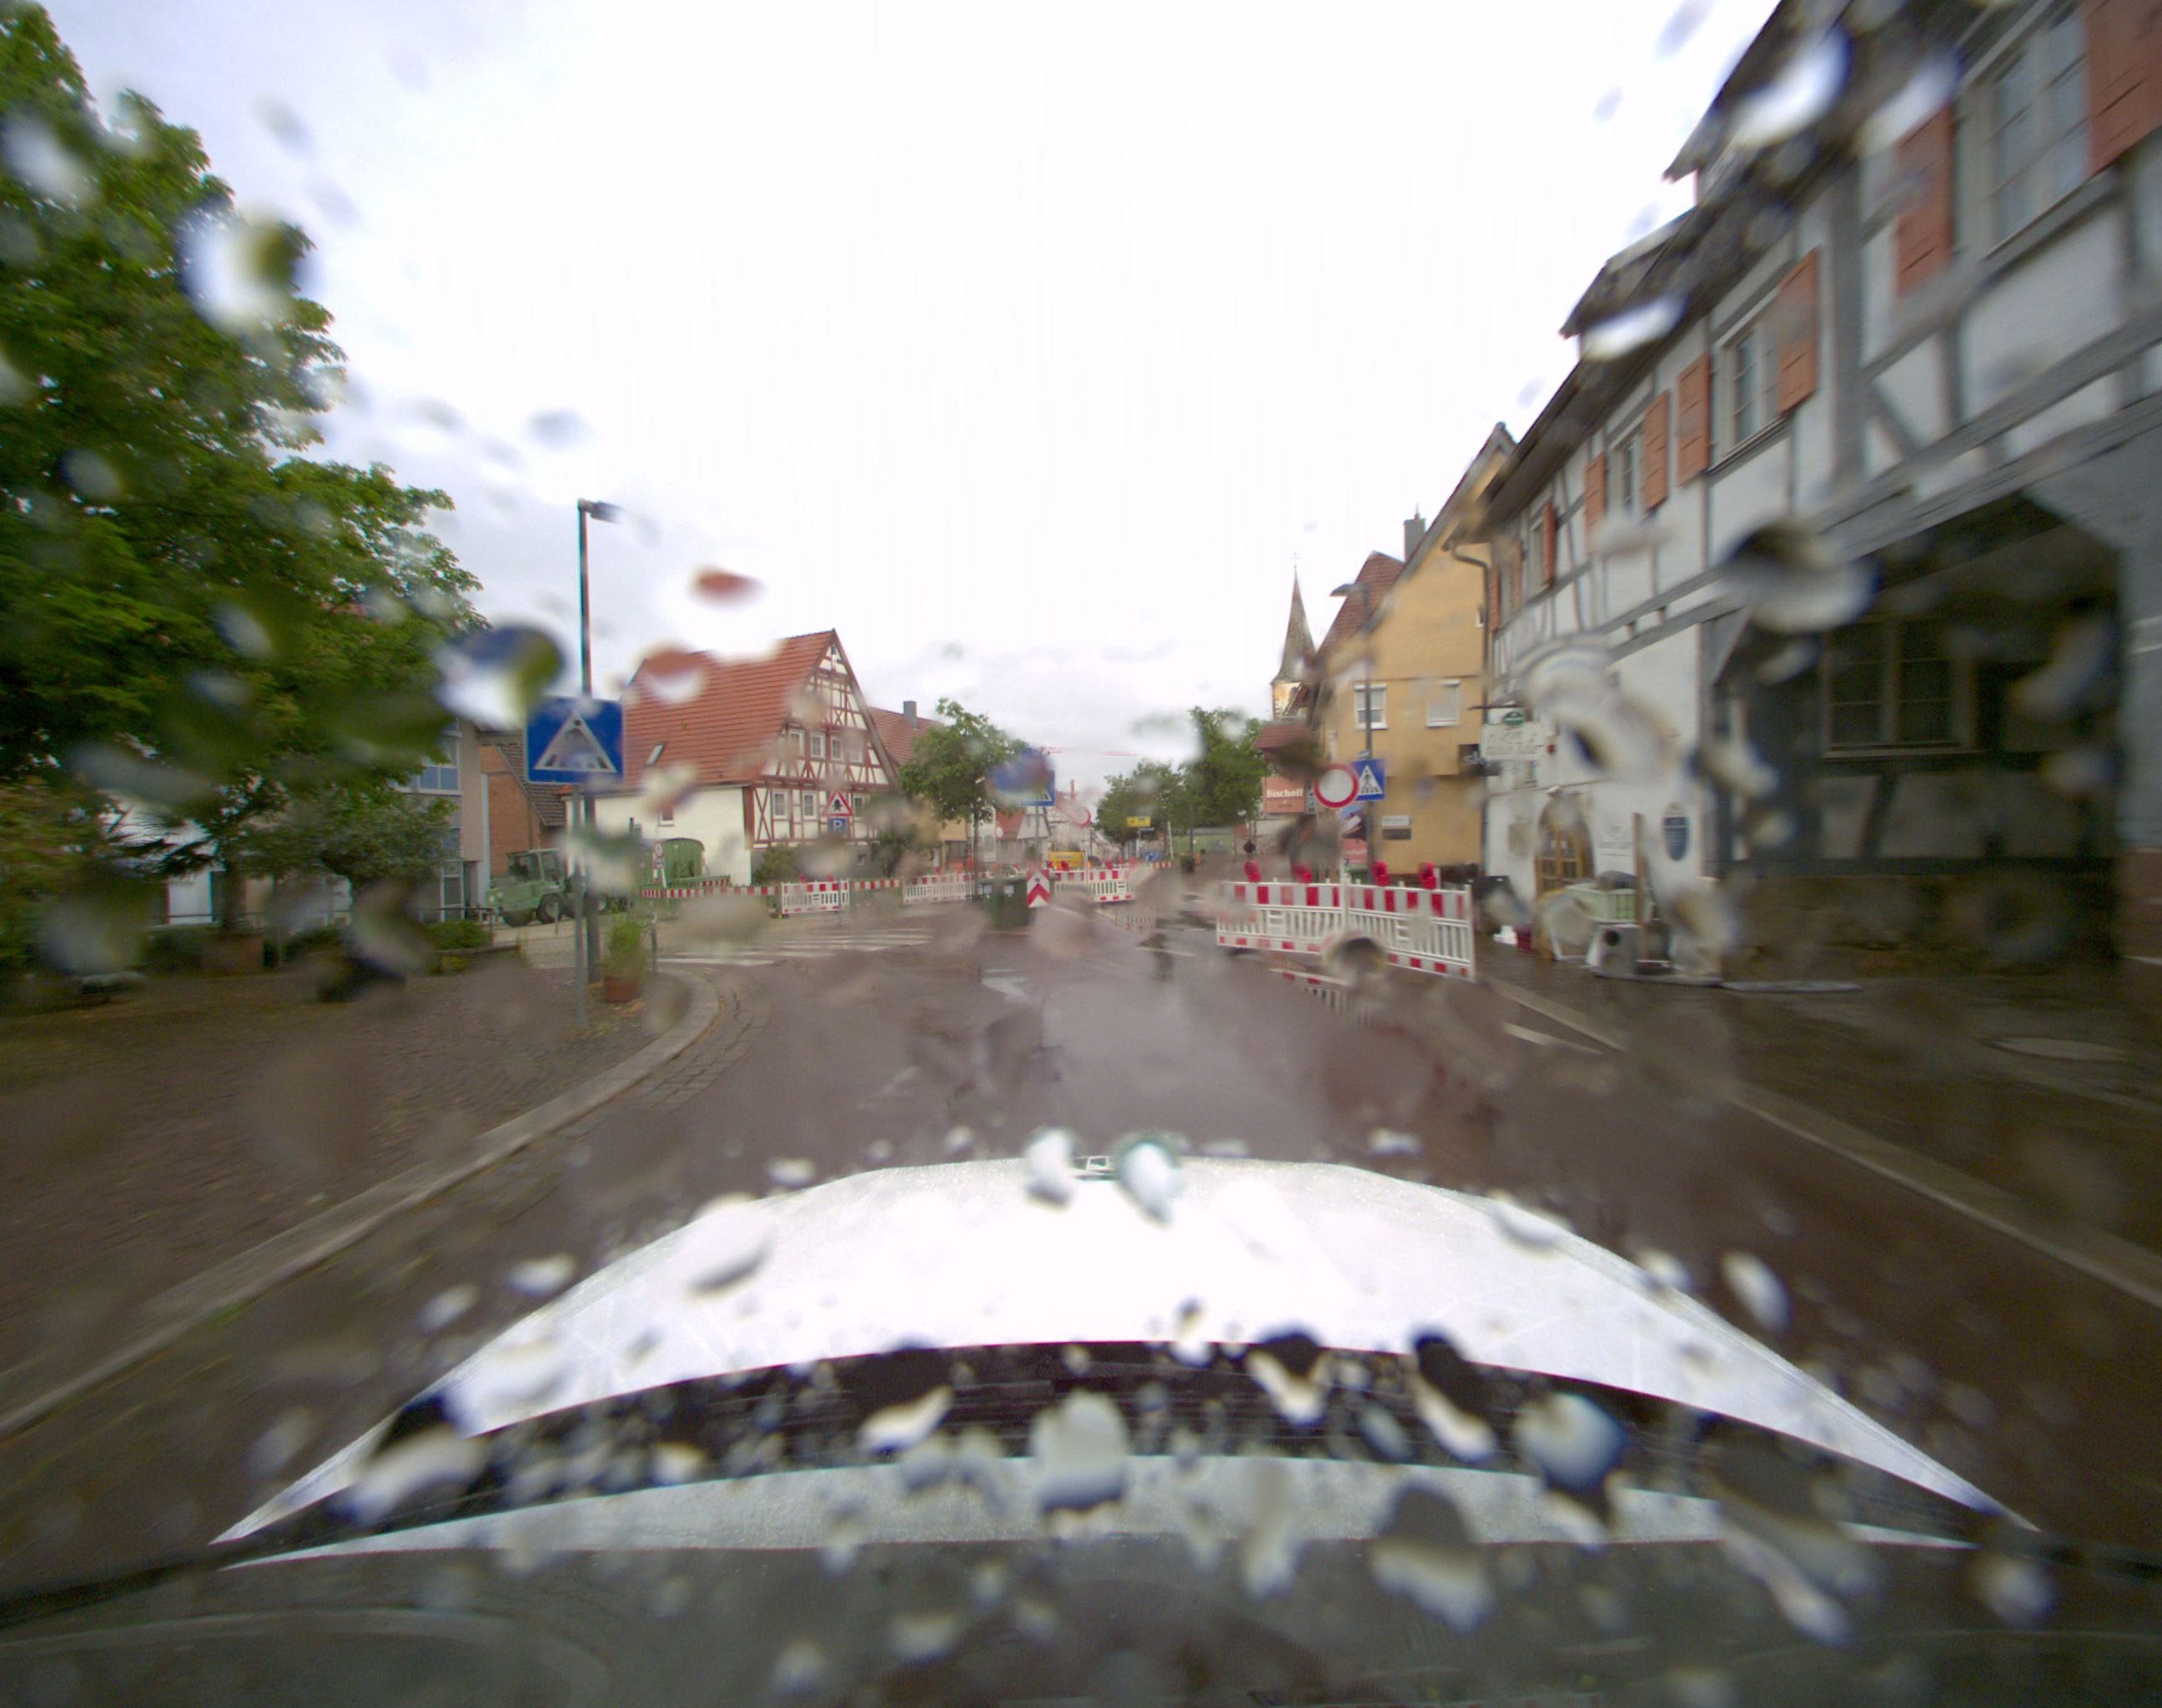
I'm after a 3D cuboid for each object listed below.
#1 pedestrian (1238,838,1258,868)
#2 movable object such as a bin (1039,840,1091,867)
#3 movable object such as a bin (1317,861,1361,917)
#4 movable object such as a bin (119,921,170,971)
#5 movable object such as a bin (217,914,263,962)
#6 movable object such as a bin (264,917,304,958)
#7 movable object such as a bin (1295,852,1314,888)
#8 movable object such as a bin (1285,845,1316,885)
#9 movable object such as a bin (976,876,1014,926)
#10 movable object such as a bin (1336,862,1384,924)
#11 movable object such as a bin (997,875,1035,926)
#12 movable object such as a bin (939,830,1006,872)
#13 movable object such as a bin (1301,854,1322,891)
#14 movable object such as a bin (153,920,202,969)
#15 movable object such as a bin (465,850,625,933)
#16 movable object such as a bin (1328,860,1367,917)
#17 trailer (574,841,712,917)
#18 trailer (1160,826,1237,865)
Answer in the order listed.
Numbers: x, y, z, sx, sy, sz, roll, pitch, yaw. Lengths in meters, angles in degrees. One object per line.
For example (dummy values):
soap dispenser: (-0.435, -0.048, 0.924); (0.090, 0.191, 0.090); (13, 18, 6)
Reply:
pedestrian: (9.956, -0.043, 48.575); (0.986, 1.759, 0.852); (0, 0, 1)
movable object such as a bin: (-1.190, -0.053, 62.900); (3.382, 2.014, 3.487); (0, 0, 8)
movable object such as a bin: (5.198, 0.690, 16.438); (0.676, 1.066, 0.587); (-2, 0, 2)
movable object such as a bin: (-23.599, 2.306, 20.521); (0.549, 1.159, 0.559); (-4, 1, -11)
movable object such as a bin: (-21.681, 2.158, 21.004); (0.549, 1.126, 0.559); (-4, 1, -11)
movable object such as a bin: (-20.902, 2.183, 21.357); (0.499, 0.991, 0.558); (-4, 1, -20)
movable object such as a bin: (7.580, 0.536, 27.596); (0.512, 1.128, 0.582); (-4, 1, 11)
movable object such as a bin: (8.753, 0.426, 32.445); (1.057, 1.512, 1.247); (-4, 0, 15)
movable object such as a bin: (-1.844, 1.011, 17.515); (0.535, 1.037, 0.576); (-4, -2, 41)
movable object such as a bin: (5.148, 0.706, 15.032); (0.676, 1.065, 0.540); (-2, 2, 1)
movable object such as a bin: (-1.355, 0.972, 17.103); (0.538, 1.033, 0.538); (-4, -3, 41)
movable object such as a bin: (-5.615, -0.161, 42.694); (1.890, 2.014, 4.017); (-3, -1, 16)
movable object such as a bin: (7.283, 0.581, 25.759); (0.514, 1.132, 0.582); (-4, 1, 11)
movable object such as a bin: (-22.941, 2.290, 20.689); (0.540, 1.126, 0.559); (-4, 1, -11)
movable object such as a bin: (-18.912, 1.238, 28.984); (1.889, 2.554, 4.313); (-4, 0, 20)
movable object such as a bin: (5.158, 0.669, 15.756); (0.610, 1.066, 0.543); (-3, -1, 24)
trailer: (-17.372, 0.949, 32.348); (4.576, 2.836, 2.506); (-1, 0, 24)
trailer: (9.090, -0.679, 63.286); (5.758, 2.947, 2.001); (0, 0, 2)
